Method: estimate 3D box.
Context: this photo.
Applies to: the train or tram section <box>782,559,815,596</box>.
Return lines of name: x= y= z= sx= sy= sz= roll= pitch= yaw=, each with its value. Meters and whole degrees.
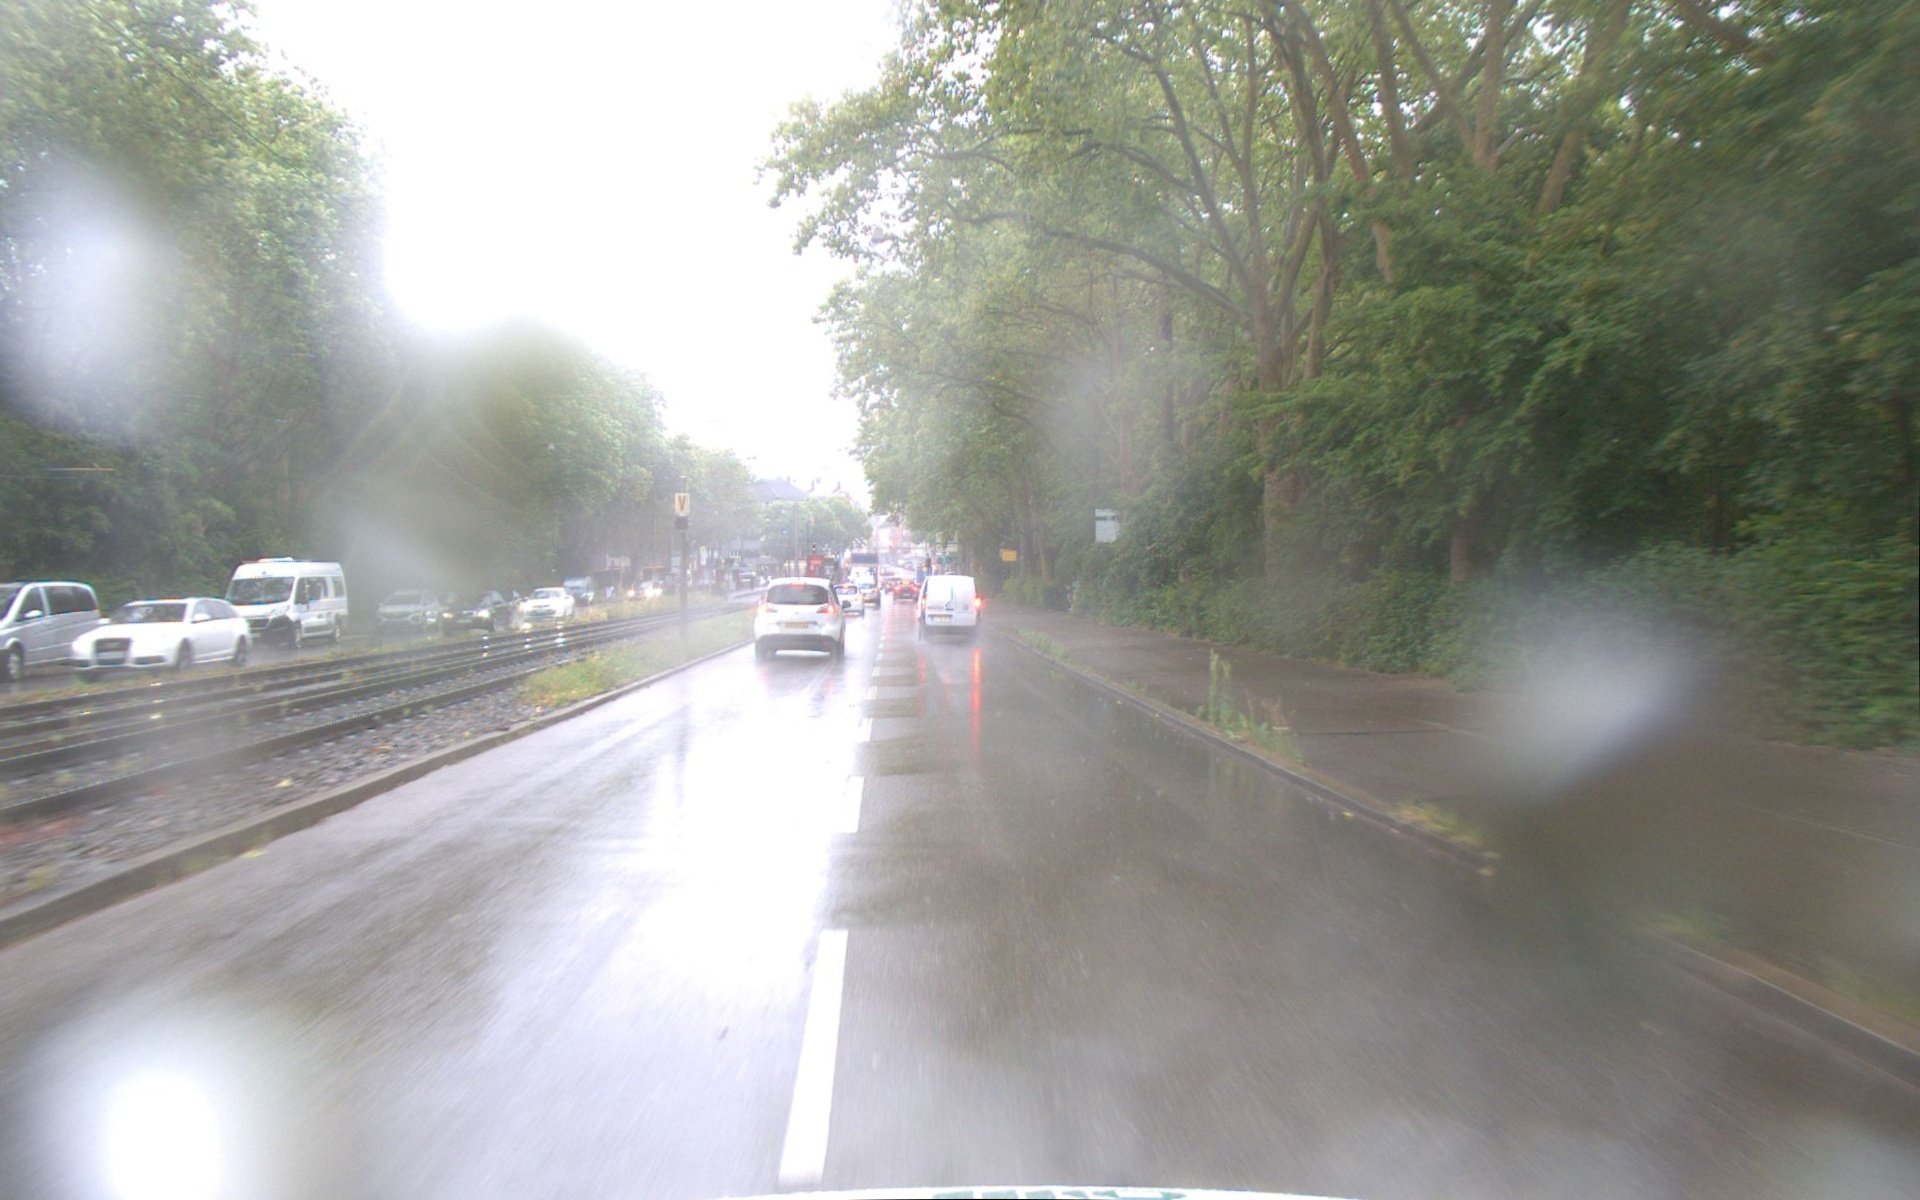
train or tram section: x=-15.289 y=-2.170 z=156.992 sx=2.903 sy=3.342 sz=8.354 roll=-1 pitch=2 yaw=-4

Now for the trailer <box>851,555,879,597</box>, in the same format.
trailer: x=-9.145 y=-2.318 z=158.751 sx=2.539 sy=3.967 sz=7.629 roll=1 pitch=1 yaw=-4

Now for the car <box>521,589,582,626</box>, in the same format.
car: x=-18.672 y=0.314 z=75.800 sx=1.940 sy=1.594 sz=4.764 roll=-2 pitch=0 yaw=-5

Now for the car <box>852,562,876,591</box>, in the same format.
car: x=-7.920 y=-1.953 z=136.872 sx=1.954 sy=2.302 sz=5.285 roll=0 pitch=0 yaw=-3

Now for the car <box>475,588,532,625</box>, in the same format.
car: x=-23.572 y=0.318 z=85.608 sx=1.992 sy=1.781 sz=4.689 roll=-2 pitch=0 yaw=-5

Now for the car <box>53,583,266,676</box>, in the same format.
car: x=-15.164 y=0.511 z=31.686 sx=1.994 sy=1.579 sz=4.991 roll=-2 pitch=0 yaw=-5

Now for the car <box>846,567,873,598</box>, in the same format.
car: x=-8.942 y=-1.548 z=147.751 sx=2.283 sy=2.602 sz=6.110 roll=0 pitch=0 yaw=-3

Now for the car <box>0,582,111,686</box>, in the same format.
car: x=-18.602 y=0.634 z=32.232 sx=1.918 sy=1.894 sz=4.637 roll=-2 pitch=0 yaw=-4

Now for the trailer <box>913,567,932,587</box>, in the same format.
trailer: x=-4.459 y=-2.694 z=195.740 sx=1.954 sy=2.357 sz=4.665 roll=1 pitch=0 yaw=-4

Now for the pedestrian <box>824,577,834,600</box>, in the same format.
pedestrian: x=-10.255 y=-0.909 z=129.492 sx=0.775 sy=1.744 sz=0.770 roll=2 pitch=-1 yaw=-4

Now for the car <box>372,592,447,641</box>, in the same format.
car: x=-21.015 y=0.583 z=63.312 sx=1.716 sy=1.758 sz=4.526 roll=-2 pitch=0 yaw=-5

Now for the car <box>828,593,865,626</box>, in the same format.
car: x=-5.322 y=0.463 z=77.896 sx=1.691 sy=1.505 sz=3.803 roll=1 pitch=0 yaw=-3

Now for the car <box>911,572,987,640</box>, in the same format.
car: x=-0.350 y=0.173 z=46.196 sx=1.920 sy=1.808 sz=3.567 roll=1 pitch=0 yaw=-4

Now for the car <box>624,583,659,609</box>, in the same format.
car: x=-22.881 y=-0.317 z=118.908 sx=1.992 sy=1.781 sz=4.255 roll=-2 pitch=0 yaw=-5

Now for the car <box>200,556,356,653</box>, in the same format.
car: x=-19.793 y=0.107 z=48.398 sx=2.343 sy=2.585 sz=6.559 roll=-2 pitch=0 yaw=-5

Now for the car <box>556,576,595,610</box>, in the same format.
car: x=-25.718 y=-0.478 z=110.774 sx=1.993 sy=2.129 sz=4.796 roll=-2 pitch=0 yaw=-7

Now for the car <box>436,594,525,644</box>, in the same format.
car: x=-16.617 y=0.618 z=57.533 sx=1.993 sy=1.579 sz=4.563 roll=-2 pitch=0 yaw=-4

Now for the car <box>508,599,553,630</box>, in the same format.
car: x=-24.212 y=0.798 z=93.381 sx=1.994 sy=1.686 sz=4.601 roll=0 pitch=0 yaw=-8

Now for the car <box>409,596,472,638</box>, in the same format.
car: x=-21.905 y=0.690 z=69.808 sx=1.727 sy=1.677 sz=3.809 roll=-2 pitch=0 yaw=-5

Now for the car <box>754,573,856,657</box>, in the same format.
car: x=-3.221 y=0.288 z=35.112 sx=1.827 sy=1.652 sz=4.262 roll=1 pitch=0 yaw=-1
